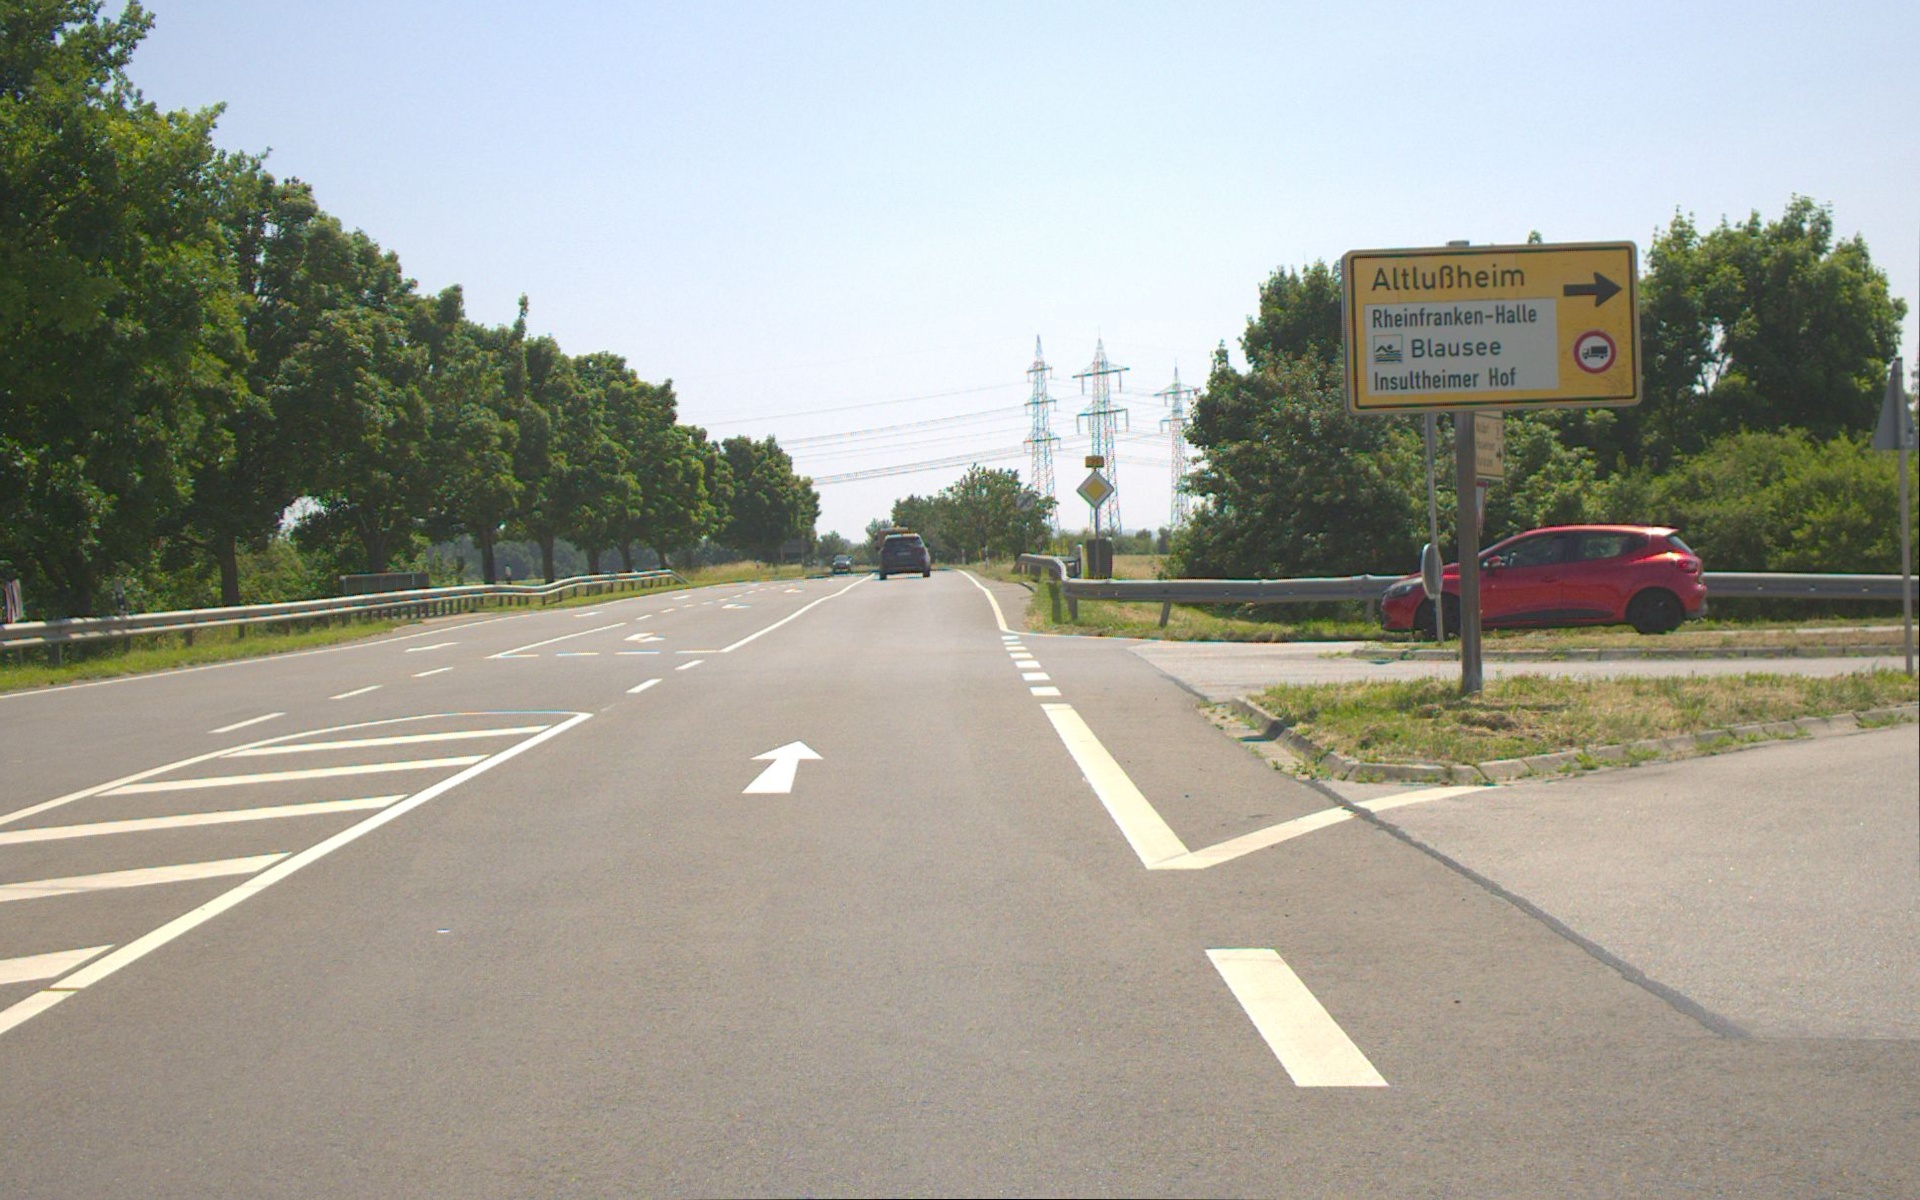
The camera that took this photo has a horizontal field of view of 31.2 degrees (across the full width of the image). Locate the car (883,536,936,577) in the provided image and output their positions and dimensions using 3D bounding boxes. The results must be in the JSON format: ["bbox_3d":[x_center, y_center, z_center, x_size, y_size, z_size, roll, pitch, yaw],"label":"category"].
[{"bbox_3d":[-1.915,-1.637,129.492,1.884,1.513,4.040,0,1,-2],"label":"car"}]

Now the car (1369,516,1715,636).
[{"bbox_3d":[7.306,-0.294,43.032,4.155,1.414,1.778,-1,0,13],"label":"car"}]
